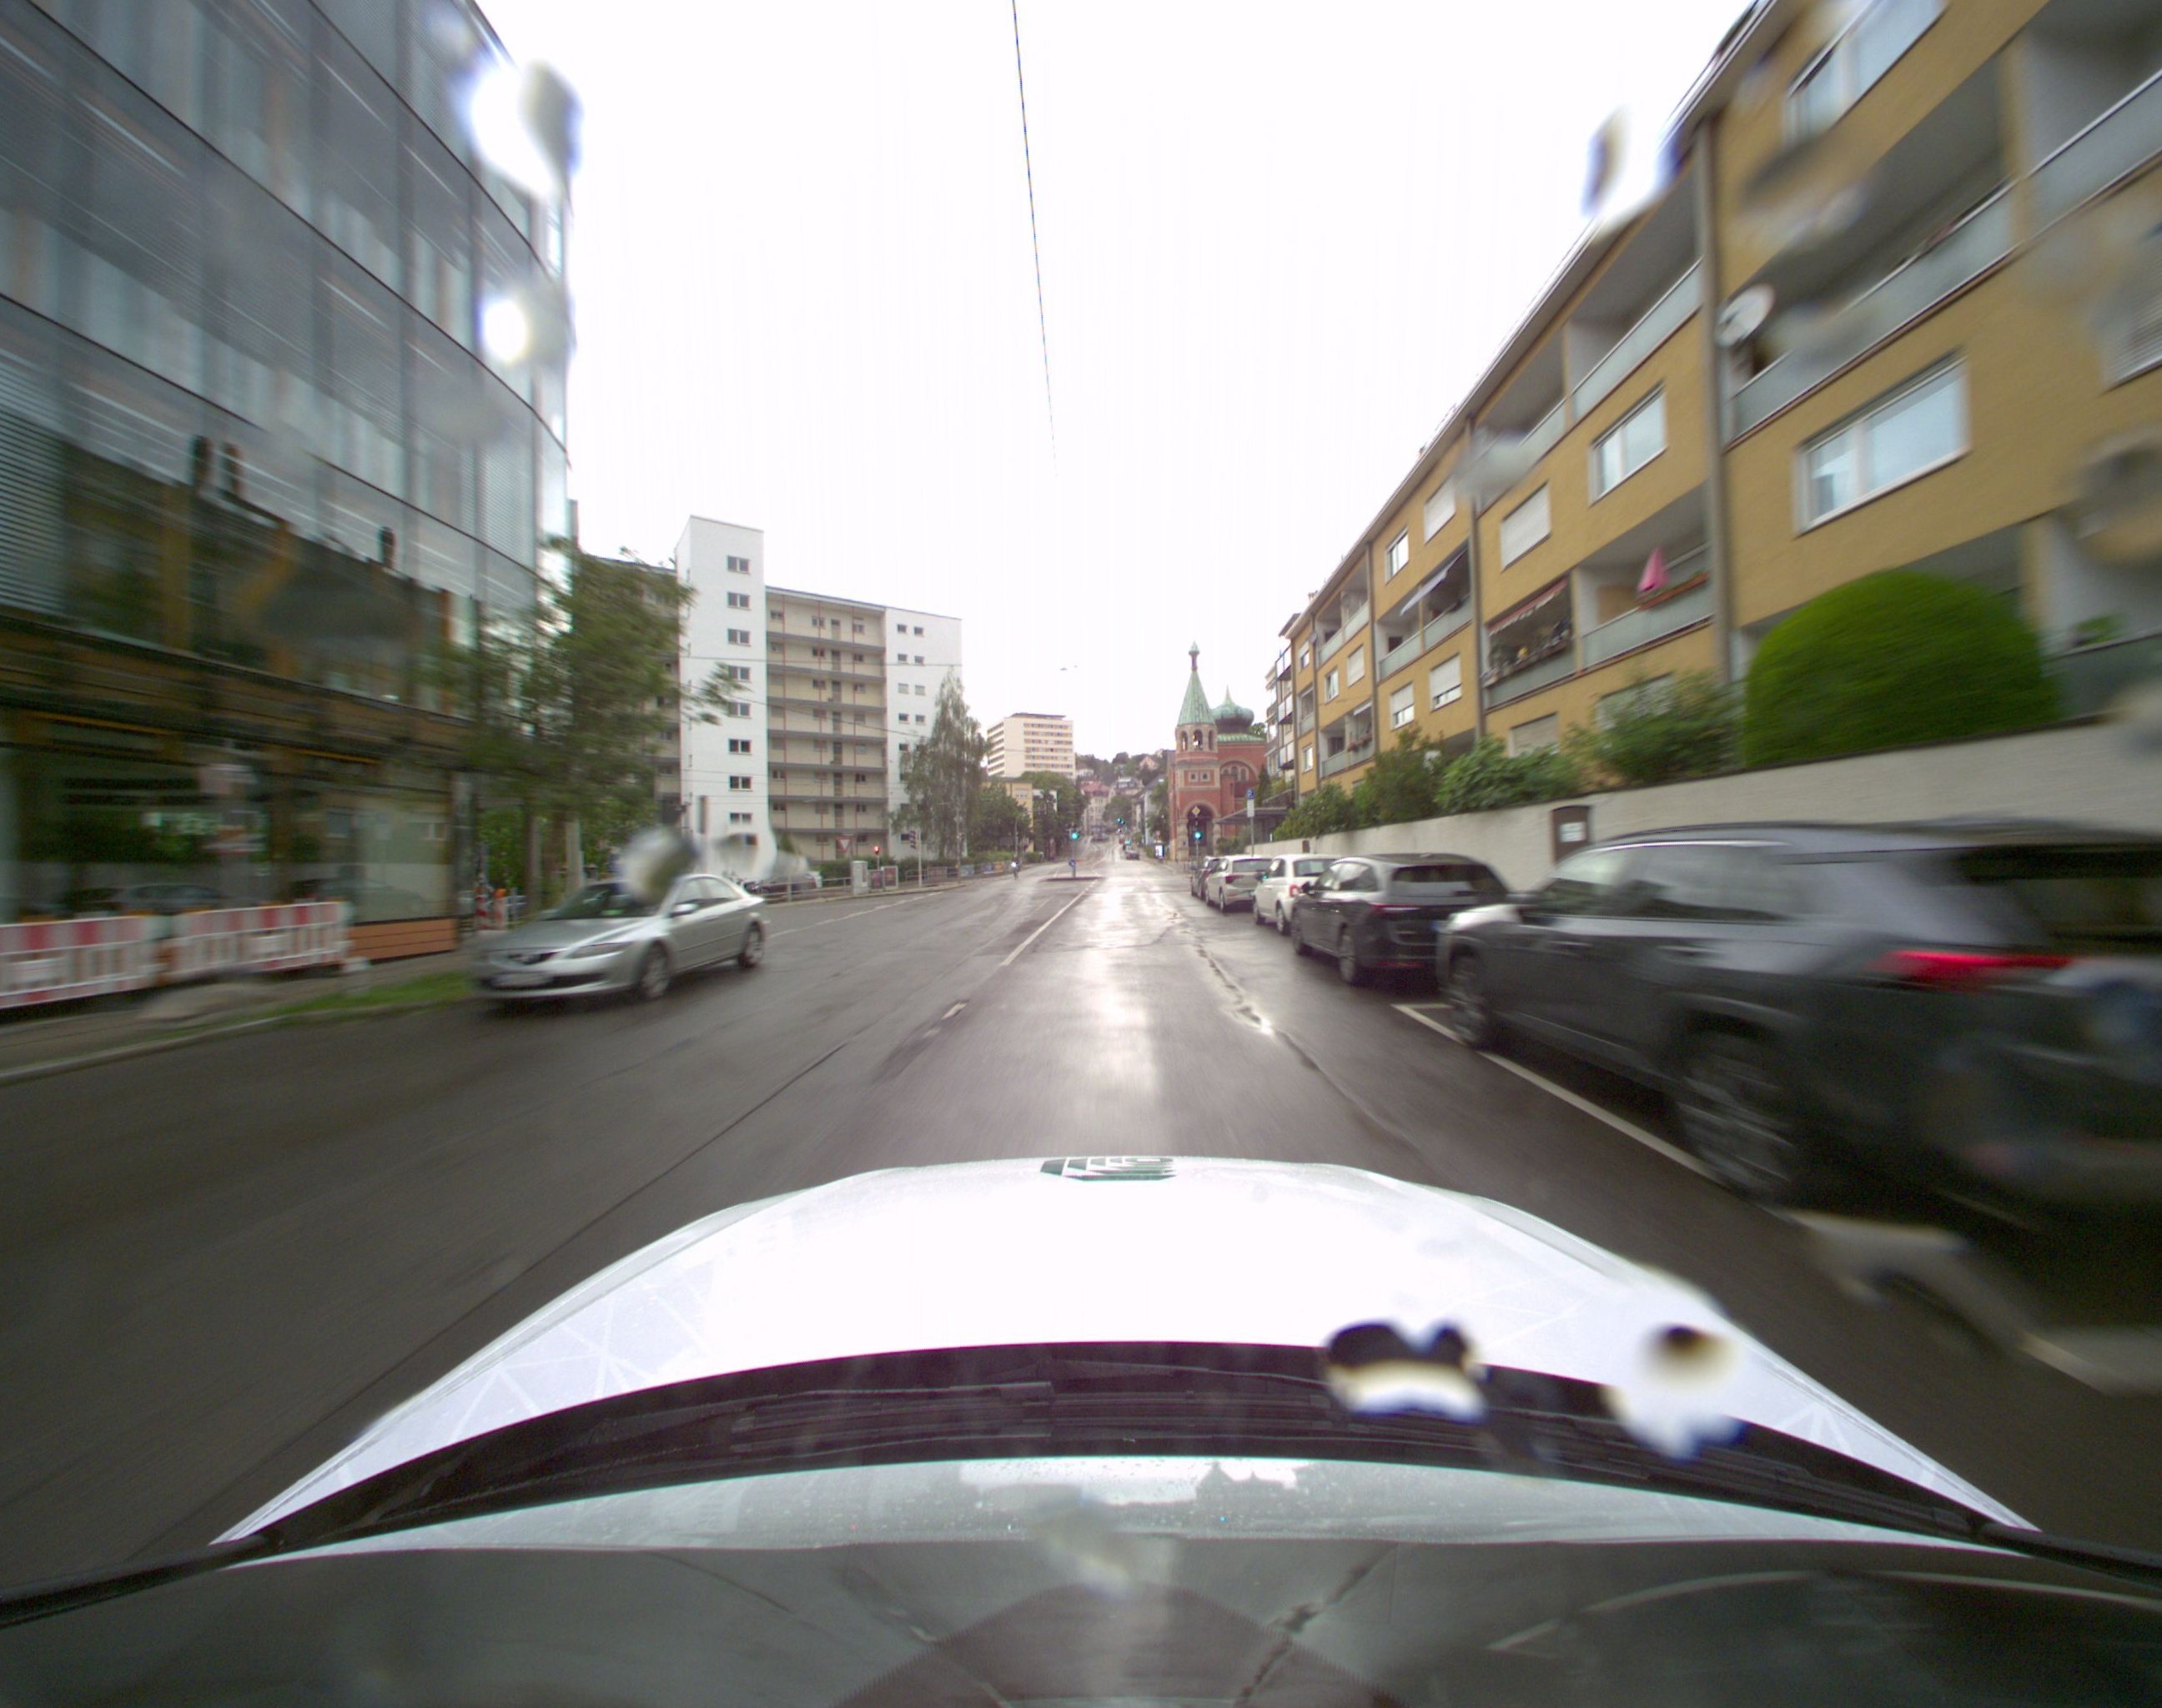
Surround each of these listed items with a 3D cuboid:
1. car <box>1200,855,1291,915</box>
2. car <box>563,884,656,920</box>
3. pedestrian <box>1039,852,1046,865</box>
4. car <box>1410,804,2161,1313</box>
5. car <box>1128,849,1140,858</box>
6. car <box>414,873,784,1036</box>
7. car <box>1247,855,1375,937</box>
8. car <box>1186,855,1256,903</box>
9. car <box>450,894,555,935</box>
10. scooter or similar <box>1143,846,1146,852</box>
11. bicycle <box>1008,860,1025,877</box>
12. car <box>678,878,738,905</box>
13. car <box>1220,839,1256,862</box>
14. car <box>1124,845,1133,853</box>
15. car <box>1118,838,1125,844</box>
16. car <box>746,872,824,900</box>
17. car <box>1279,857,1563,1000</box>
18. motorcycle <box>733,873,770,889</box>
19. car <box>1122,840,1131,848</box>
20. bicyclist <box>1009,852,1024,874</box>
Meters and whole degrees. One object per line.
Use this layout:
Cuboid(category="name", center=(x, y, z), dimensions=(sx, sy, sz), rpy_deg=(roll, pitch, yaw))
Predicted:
Cuboid(category="car", center=(4.357, 0.789, 22.143), dimensions=(1.642, 1.460, 4.102), rpy_deg=(0, -1, 0))
Cuboid(category="car", center=(-27.561, 2.762, 47.666), dimensions=(4.336, 1.507, 1.976), rpy_deg=(-5, 4, -42))
Cuboid(category="pedestrian", center=(-5.511, 0.583, 115.652), dimensions=(0.916, 1.846, 1.016), rpy_deg=(0, 0, -2))
Cuboid(category="car", center=(3.760, 0.675, 4.933), dimensions=(1.794, 1.647, 4.577), rpy_deg=(-1, -1, 2))
Cuboid(category="car", center=(9.087, -0.094, 139.448), dimensions=(1.851, 1.487, 4.646), rpy_deg=(0, 1, 1))
Cuboid(category="car", center=(-5.668, 1.064, 10.471), dimensions=(1.851, 1.394, 4.646), rpy_deg=(-2, 1, 1))
Cuboid(category="car", center=(4.485, 0.764, 16.378), dimensions=(1.680, 1.453, 3.555), rpy_deg=(0, -1, 2))
Cuboid(category="car", center=(4.610, 0.790, 27.474), dimensions=(1.723, 1.460, 4.480), rpy_deg=(0, 0, 2))
Cuboid(category="car", center=(-31.223, 3.225, 44.048), dimensions=(4.337, 1.507, 1.976), rpy_deg=(-7, 5, -42))
Cuboid(category="scooter or similar", center=(13.770, -1.062, 176.548), dimensions=(0.571, 1.248, 1.614), rpy_deg=(0, 5, 7))
Cuboid(category="bicycle", center=(-4.368, 0.968, 55.172), dimensions=(0.825, 1.148, 2.118), rpy_deg=(-1, -1, -13))
Cuboid(category="car", center=(-23.446, 2.321, 51.209), dimensions=(2.909, 1.392, 1.789), rpy_deg=(-5, 3, -42))
Cuboid(category="car", center=(11.334, -0.233, 59.026), dimensions=(1.846, 1.503, 4.452), rpy_deg=(-4, -1, 3))
Cuboid(category="car", center=(10.249, -1.063, 175.851), dimensions=(1.698, 1.433, 4.104), rpy_deg=(0, 3, 1))
Cuboid(category="car", center=(11.416, -3.612, 228.356), dimensions=(1.794, 1.645, 4.004), rpy_deg=(0, 1, 3))
Cuboid(category="car", center=(-19.754, 2.106, 54.461), dimensions=(4.518, 1.461, 1.852), rpy_deg=(-5, 1, -42))
Cuboid(category="car", center=(3.971, 0.766, 10.448), dimensions=(1.904, 1.426, 4.453), rpy_deg=(0, 0, 2))
Cuboid(category="motorcycle", center=(-23.167, 1.916, 57.231), dimensions=(2.248, 0.940, 0.769), rpy_deg=(-3, 3, -41))
Cuboid(category="car", center=(10.780, -2.312, 192.256), dimensions=(1.899, 1.641, 4.692), rpy_deg=(0, 3, 1))
Cuboid(category="bicyclist", center=(-4.382, 0.630, 55.194), dimensions=(0.825, 1.462, 1.135), rpy_deg=(0, -1, -12))
